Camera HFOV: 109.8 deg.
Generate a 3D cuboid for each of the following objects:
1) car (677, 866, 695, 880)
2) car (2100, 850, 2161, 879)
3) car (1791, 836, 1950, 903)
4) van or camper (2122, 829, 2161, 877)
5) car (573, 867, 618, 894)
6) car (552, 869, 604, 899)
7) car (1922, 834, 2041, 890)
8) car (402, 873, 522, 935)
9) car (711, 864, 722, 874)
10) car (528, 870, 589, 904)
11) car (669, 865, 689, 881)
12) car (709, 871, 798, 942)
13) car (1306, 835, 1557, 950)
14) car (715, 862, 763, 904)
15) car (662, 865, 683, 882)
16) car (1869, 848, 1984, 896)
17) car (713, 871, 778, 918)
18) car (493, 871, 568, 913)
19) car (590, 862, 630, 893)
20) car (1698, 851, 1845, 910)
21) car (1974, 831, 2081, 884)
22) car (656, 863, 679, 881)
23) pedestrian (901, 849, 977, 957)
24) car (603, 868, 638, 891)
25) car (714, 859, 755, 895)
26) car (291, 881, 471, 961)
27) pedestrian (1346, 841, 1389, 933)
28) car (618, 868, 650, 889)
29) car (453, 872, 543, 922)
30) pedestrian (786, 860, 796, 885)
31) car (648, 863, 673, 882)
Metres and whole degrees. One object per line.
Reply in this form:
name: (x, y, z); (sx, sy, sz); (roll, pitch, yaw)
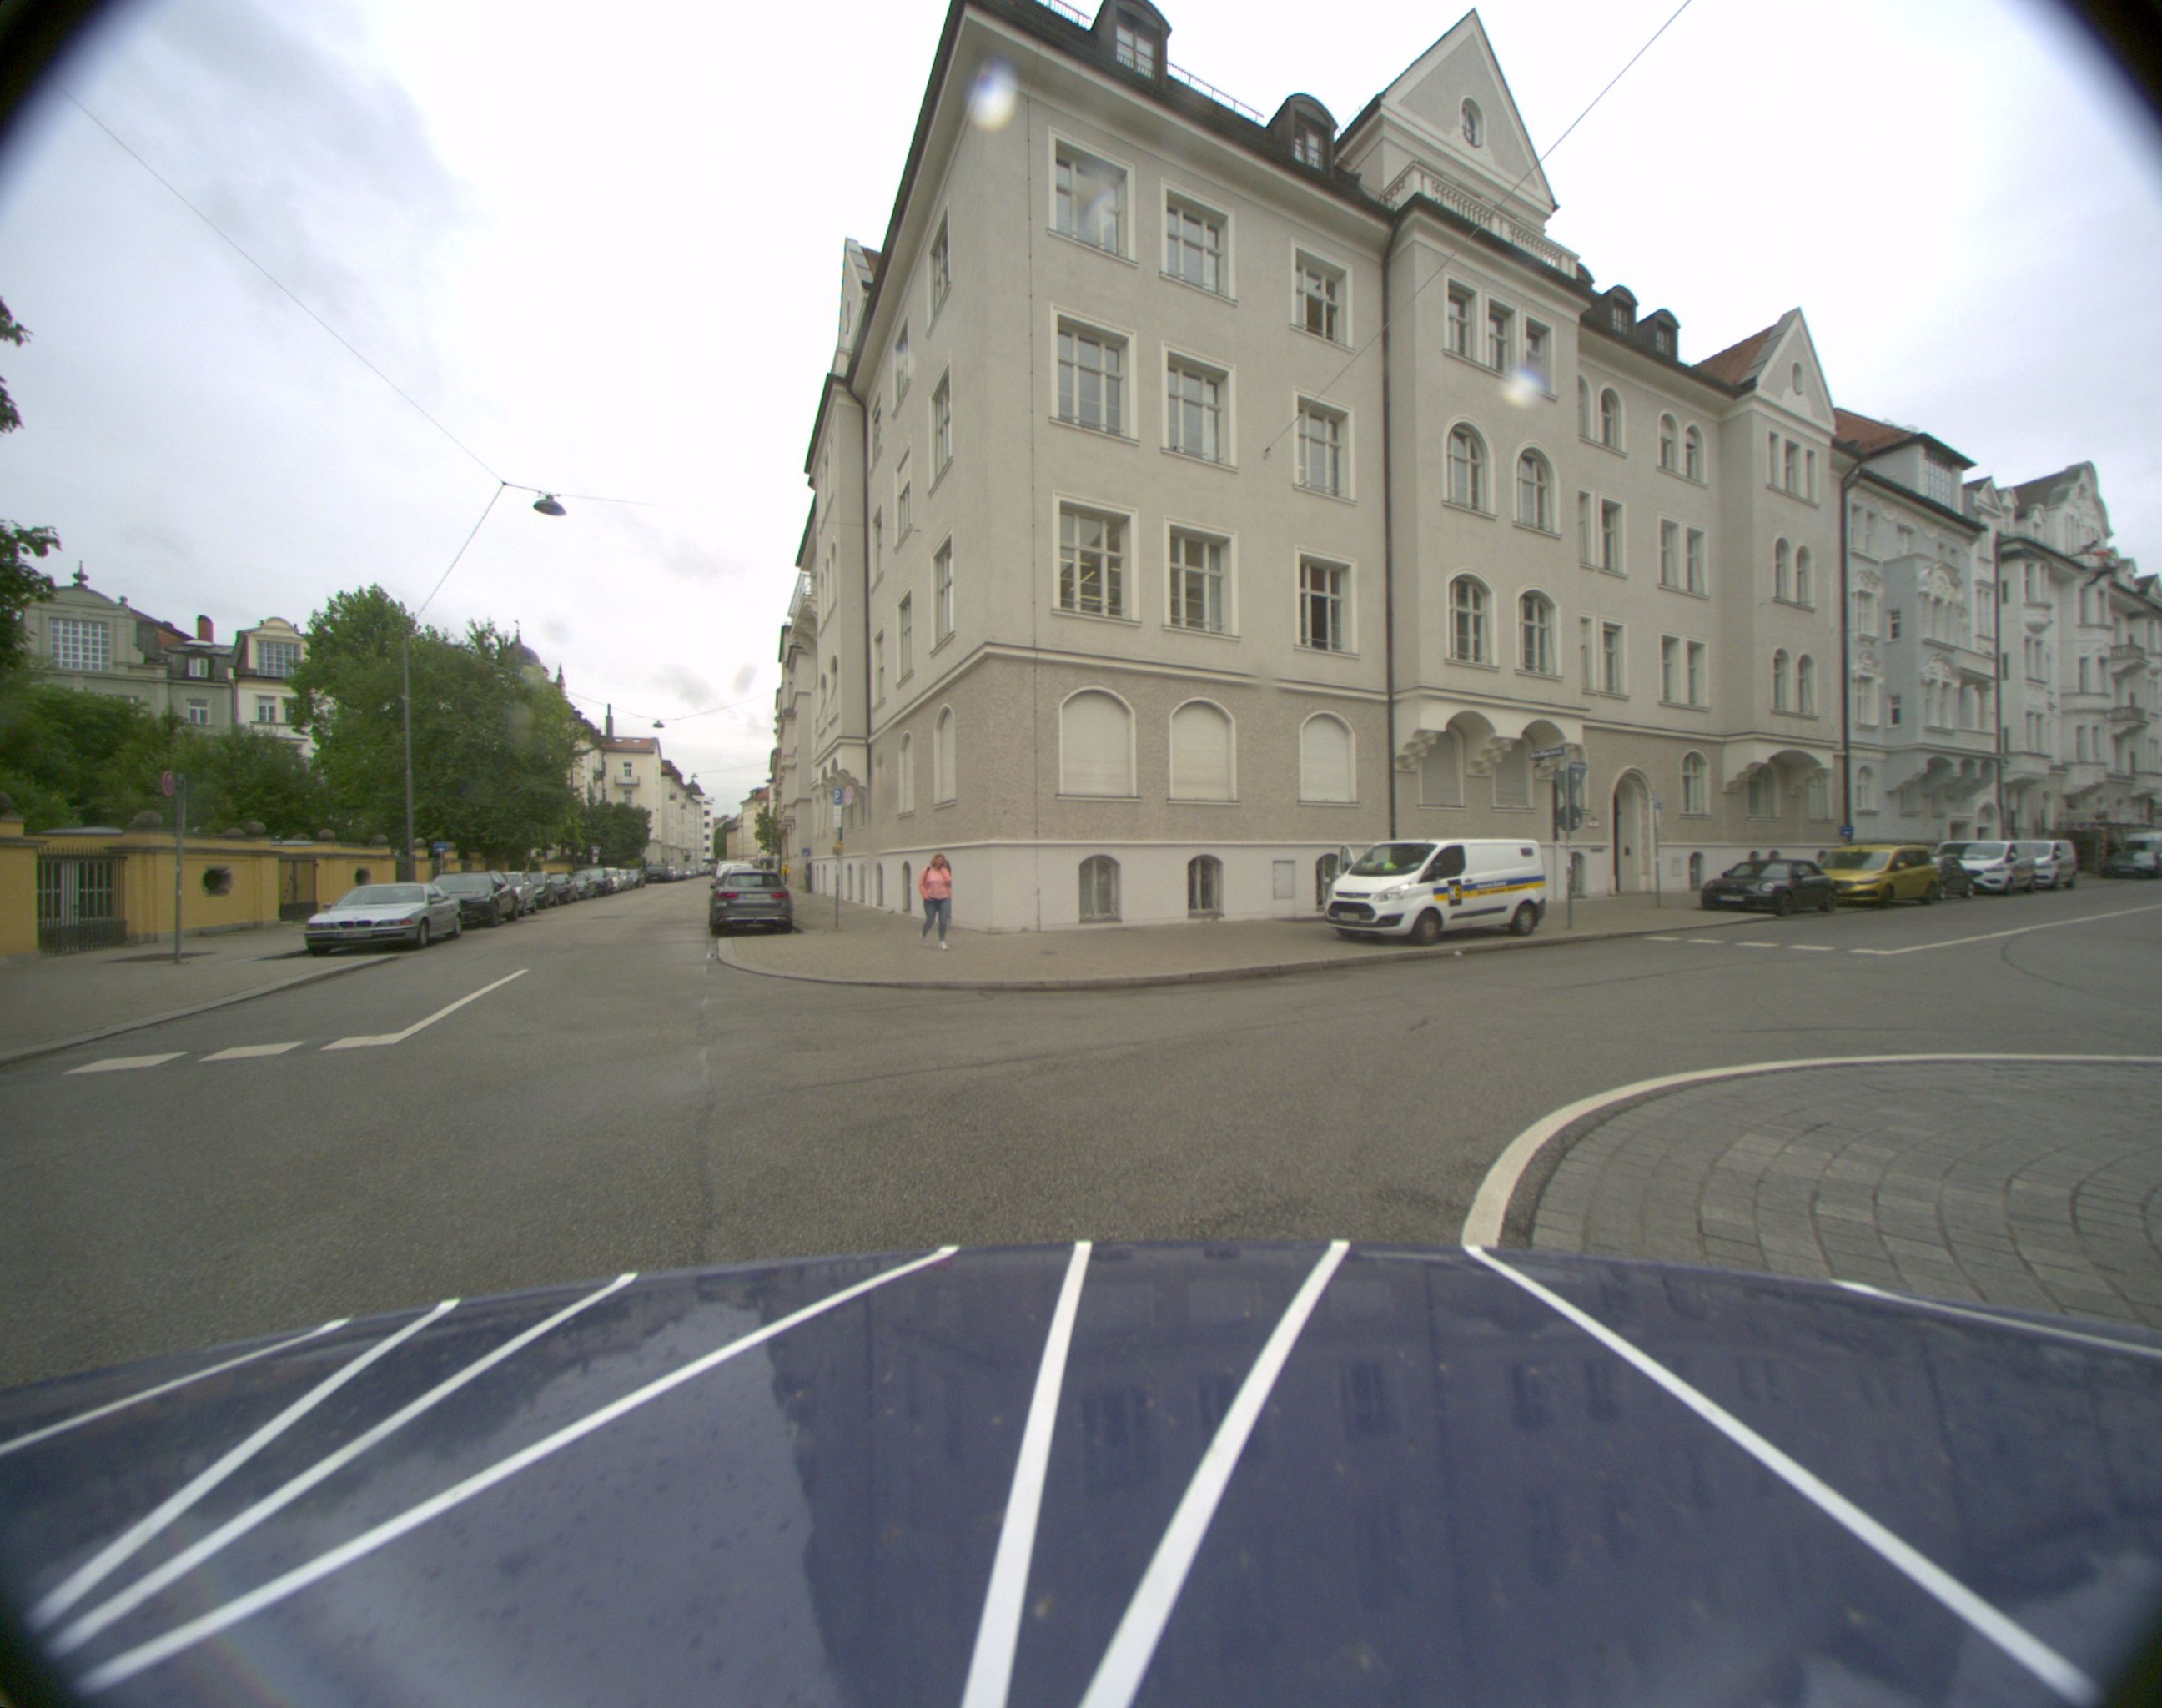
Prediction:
car: (-51.112, 2.429, 98.436); (1.777, 1.792, 4.335); (-1, 0, -24)
car: (55.266, 0.544, 39.781); (4.093, 1.426, 1.755); (-1, 0, -29)
car: (23.690, 0.404, 22.779); (4.827, 1.842, 1.852); (-1, 0, -25)
van or camper: (60.794, -0.096, 42.687); (5.466, 2.621, 1.955); (-1, 0, -28)
car: (-28.063, 1.513, 44.037); (1.777, 1.436, 4.058); (0, 0, -27)
car: (-26.388, 1.531, 39.986); (1.777, 1.436, 4.058); (0, 0, -27)
car: (33.446, 0.241, 28.189); (5.001, 1.926, 1.961); (-1, 0, -30)
car: (-17.931, 1.358, 22.256); (1.828, 1.521, 4.562); (0, 0, -28)
car: (-69.968, 2.861, 145.966); (1.777, 1.792, 4.335); (-1, 0, -24)
car: (-24.567, 1.507, 35.883); (1.777, 1.436, 4.394); (0, 0, -27)
car: (-46.730, 2.209, 88.457); (1.777, 1.792, 4.335); (-1, 0, -24)
car: (-8.713, 1.269, 20.008); (1.895, 1.607, 4.411); (0, -1, -27)
car: (6.962, 0.630, 14.966); (4.934, 1.951, 1.917); (-1, 1, -29)
car: (-16.214, 1.308, 35.944); (1.895, 1.842, 4.411); (0, -1, -27)
car: (-44.943, 2.103, 83.641); (1.777, 1.792, 4.335); (-1, 0, -24)
car: (28.142, 0.545, 25.280); (3.788, 1.475, 1.633); (-1, 0, -27)
car: (-11.985, 1.361, 26.989); (1.895, 1.455, 4.411); (0, -1, -27)
car: (-22.624, 1.519, 31.376); (1.828, 1.521, 4.394); (0, 0, -27)
car: (-30.322, 1.488, 49.004); (1.777, 1.874, 4.058); (-1, 0, -27)
car: (18.706, 0.665, 20.566); (3.902, 1.449, 1.665); (-1, 0, -27)
car: (38.834, 0.118, 31.150); (5.001, 2.002, 1.961); (-1, 0, -30)
car: (-42.988, 1.822, 79.088); (1.777, 1.792, 4.335); (-1, 0, -24)
pedestrian: (-2.596, 0.854, 13.836); (1.212, 1.862, 1.089); (-1, 0, -18)
car: (-32.226, 1.751, 53.299); (1.777, 1.436, 4.058); (0, 0, -27)
car: (-18.985, 1.213, 41.560); (1.895, 1.872, 4.411); (0, -1, -27)
car: (-15.357, 1.372, 16.986); (1.828, 1.394, 4.562); (0, 0, -28)
pedestrian: (5.958, 0.677, 15.836); (0.676, 1.877, 0.592); (-1, 0, 2)
car: (-34.153, 1.839, 58.123); (1.777, 1.436, 4.058); (0, 0, -27)
car: (-20.501, 1.458, 26.889); (1.828, 1.521, 4.394); (0, 0, -28)
pedestrian: (-23.674, 1.527, 62.089); (0.712, 2.002, 0.708); (-1, 0, -24)
car: (-40.824, 1.768, 73.868); (1.777, 1.792, 4.335); (-1, 0, -24)
